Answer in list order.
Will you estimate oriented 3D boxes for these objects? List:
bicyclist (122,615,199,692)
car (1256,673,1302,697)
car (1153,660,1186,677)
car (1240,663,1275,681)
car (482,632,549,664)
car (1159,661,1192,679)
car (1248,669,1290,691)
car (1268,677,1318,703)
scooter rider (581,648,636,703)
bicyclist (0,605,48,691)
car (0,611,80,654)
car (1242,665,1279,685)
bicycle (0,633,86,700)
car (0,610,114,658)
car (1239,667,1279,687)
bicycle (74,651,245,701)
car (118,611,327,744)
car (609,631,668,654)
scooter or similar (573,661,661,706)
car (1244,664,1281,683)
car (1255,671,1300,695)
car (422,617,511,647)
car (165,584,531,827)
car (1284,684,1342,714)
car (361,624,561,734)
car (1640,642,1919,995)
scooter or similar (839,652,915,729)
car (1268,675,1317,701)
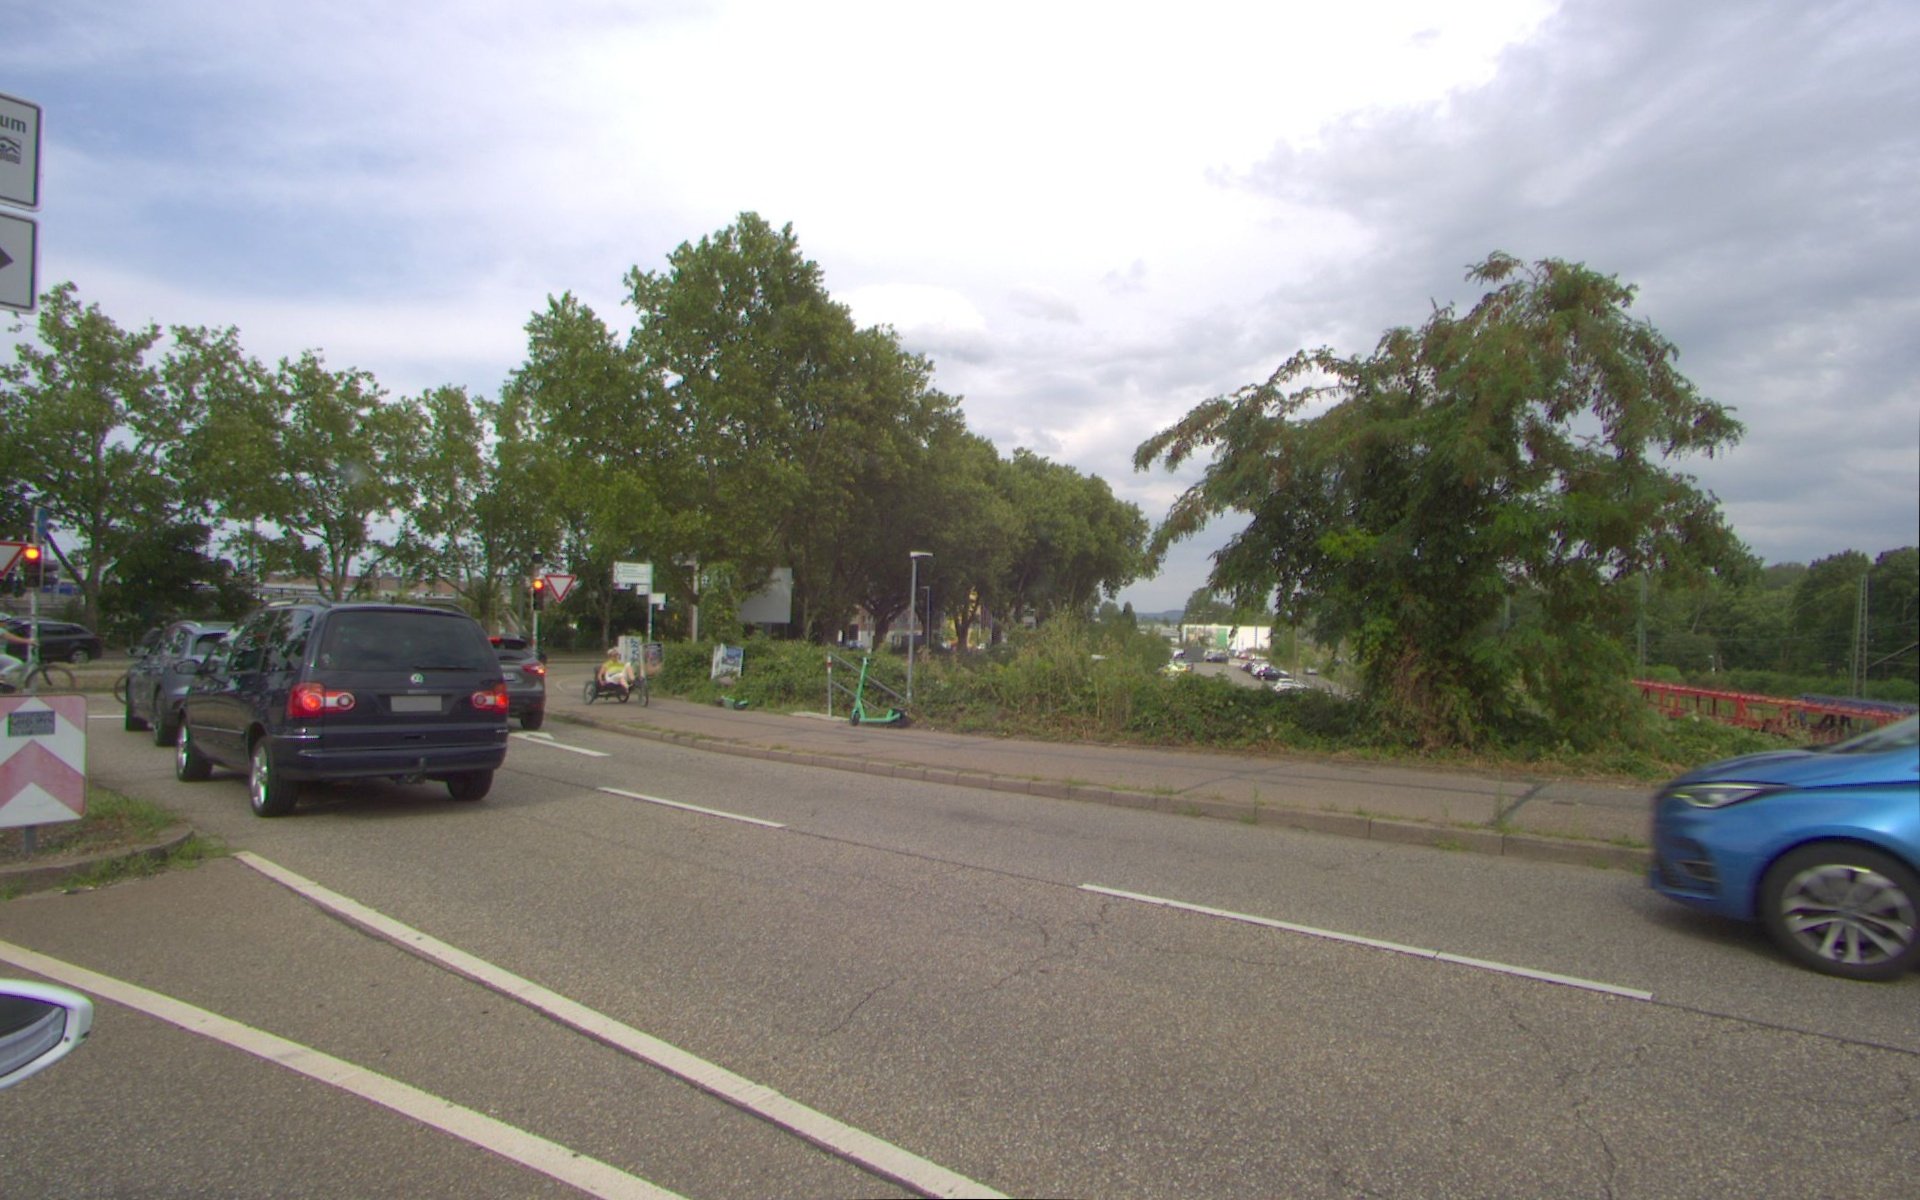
[{"bbox_3d":[-15.739,1.047,19.727,1.107,1.455,0.641,2,0,-44],"label":"bicyclist"},{"bbox_3d":[30.170,8.043,94.816,3.923,2.040,1.762,1,-1,10],"label":"car"},{"bbox_3d":[26.710,8.729,127.671,3.926,2.040,1.761,1,-1,16],"label":"car"},{"bbox_3d":[36.913,8.906,124.408,3.923,2.040,1.762,1,-1,10],"label":"car"},{"bbox_3d":[-20.847,2.246,47.028,1.471,1.440,2.717,0,-1,15],"label":"car"},{"bbox_3d":[26.840,8.664,124.772,3.926,2.040,1.761,1,-1,16],"label":"car"},{"bbox_3d":[32.106,8.313,104.246,3.923,2.040,1.762,1,-1,10],"label":"car"},{"bbox_3d":[28.966,7.833,87.183,3.923,2.040,1.762,1,-1,10],"label":"car"},{"bbox_3d":[-7.679,1.632,21.901,0.907,1.151,0.802,-1,-2,43],"label":"scooter rider"},{"bbox_3d":[-17.899,0.903,18.999,0.647,1.601,0.776,1,-1,39],"label":"bicyclist"},{"bbox_3d":[-33.407,1.116,34.529,1.729,1.466,4.339,0,-1,16],"label":"car"},{"bbox_3d":[34.693,8.645,115.631,3.923,2.040,1.762,1,-1,10],"label":"car"},{"bbox_3d":[-17.906,1.254,19.000,0.635,1.226,1.894,1,-1,39],"label":"bicycle"},{"bbox_3d":[-30.047,1.066,32.016,1.729,1.466,4.339,0,-1,16],"label":"car"},{"bbox_3d":[32.896,8.474,110.275,3.923,2.040,1.762,1,-1,10],"label":"car"},{"bbox_3d":[-15.725,1.464,19.733,2.568,0.901,0.697,3,-1,-45],"label":"bicycle"},{"bbox_3d":[-10.538,1.042,14.198,4.113,1.604,1.682,-2,-4,44],"label":"car"},{"bbox_3d":[-22.000,2.877,68.629,1.729,1.466,4.339,0,-1,16],"label":"car"},{"bbox_3d":[-7.433,1.779,21.640,2.361,0.860,0.802,-2,-2,43],"label":"scooter or similar"},{"bbox_3d":[36.116,8.773,119.576,3.923,2.040,1.762,1,-1,10],"label":"car"},{"bbox_3d":[31.220,8.157,98.588,3.923,2.040,1.762,1,-1,10],"label":"car"},{"bbox_3d":[-25.678,1.644,52.259,1.729,1.466,4.339,0,-1,16],"label":"car"},{"bbox_3d":[-5.789,0.857,9.271,4.092,1.746,1.743,-1,-4,42],"label":"car"},{"bbox_3d":[26.889,7.527,76.368,3.923,2.040,1.762,1,-1,10],"label":"car"},{"bbox_3d":[-8.639,1.293,17.178,4.094,1.663,1.742,-2,-4,44],"label":"car"},{"bbox_3d":[5.492,1.006,4.505,3.903,1.540,1.715,-1,-4,40],"label":"car"},{"bbox_3d":[-1.370,1.467,16.441,1.262,1.198,0.396,-1,-1,32],"label":"scooter or similar"},{"bbox_3d":[30.019,7.937,90.495,3.923,2.040,1.762,1,-1,10],"label":"car"}]
